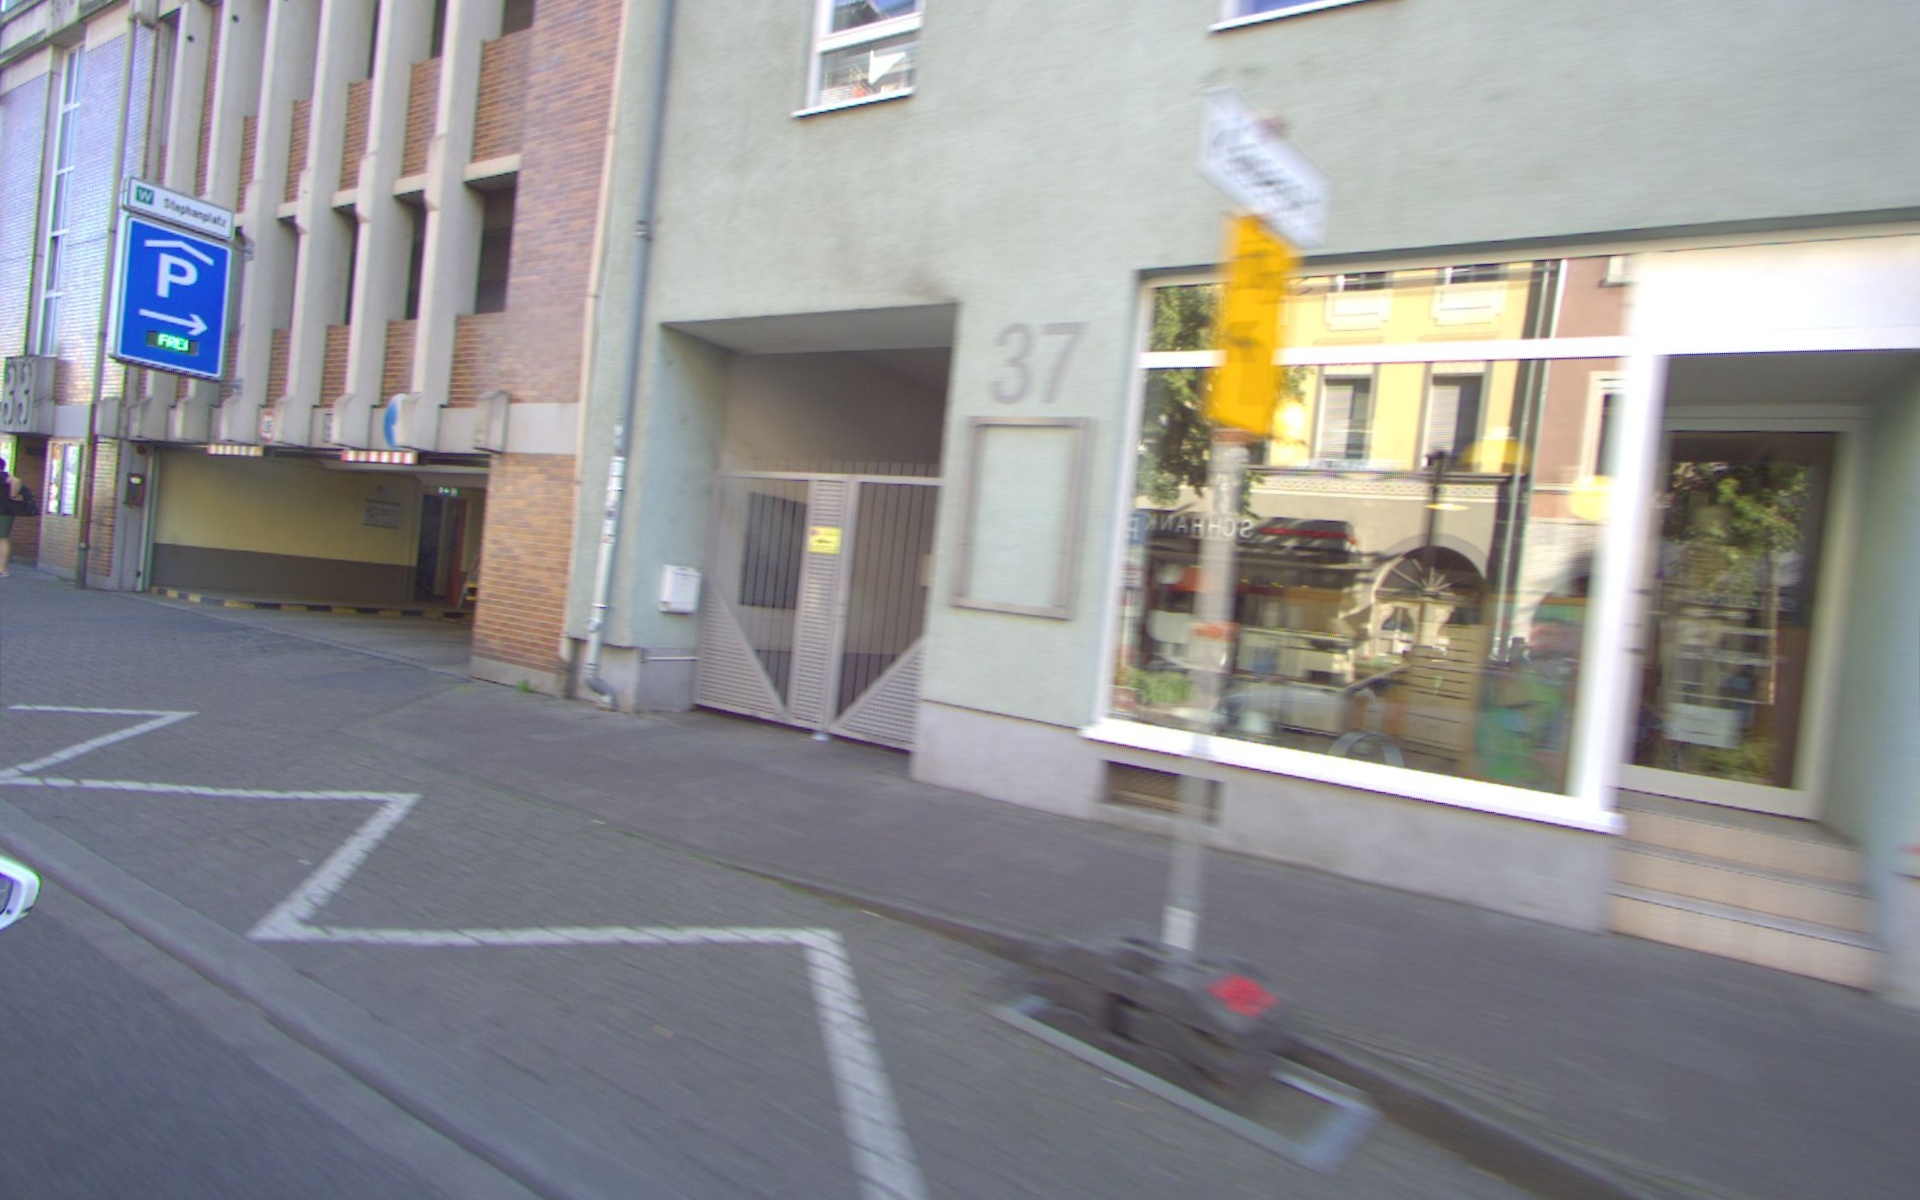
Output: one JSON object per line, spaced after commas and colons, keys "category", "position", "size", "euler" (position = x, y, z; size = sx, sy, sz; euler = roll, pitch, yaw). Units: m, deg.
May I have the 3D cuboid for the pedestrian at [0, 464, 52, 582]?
{"category": "pedestrian", "position": [-13.952, -1.141, 14.741], "size": [0.874, 1.658, 0.691], "euler": [7, 4, 31]}
